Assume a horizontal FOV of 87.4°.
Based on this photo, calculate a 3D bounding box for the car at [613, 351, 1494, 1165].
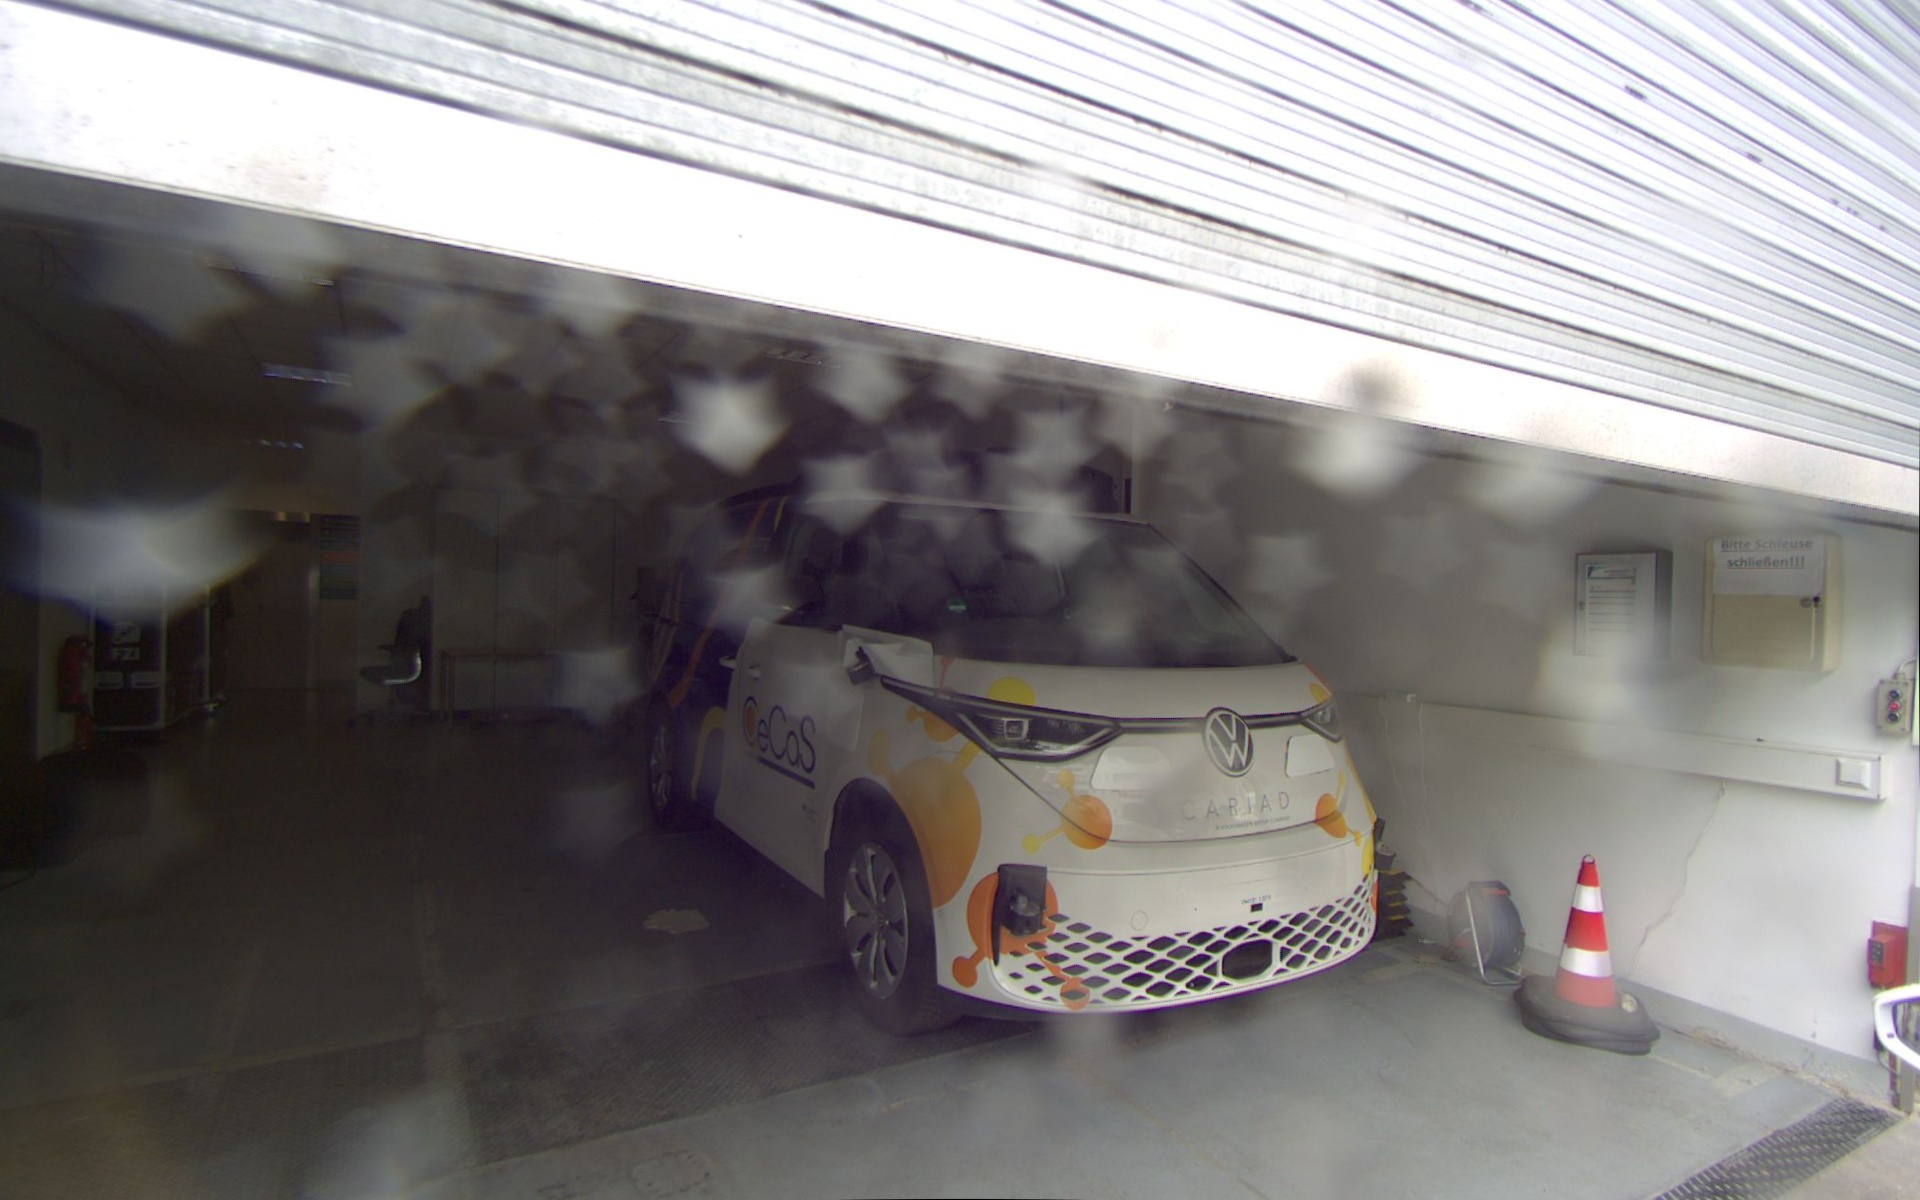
[{"bbox_3d":[-0.192,0.356,5.062,2.060,2.041,4.666,1,1,-30],"label":"car"}]
